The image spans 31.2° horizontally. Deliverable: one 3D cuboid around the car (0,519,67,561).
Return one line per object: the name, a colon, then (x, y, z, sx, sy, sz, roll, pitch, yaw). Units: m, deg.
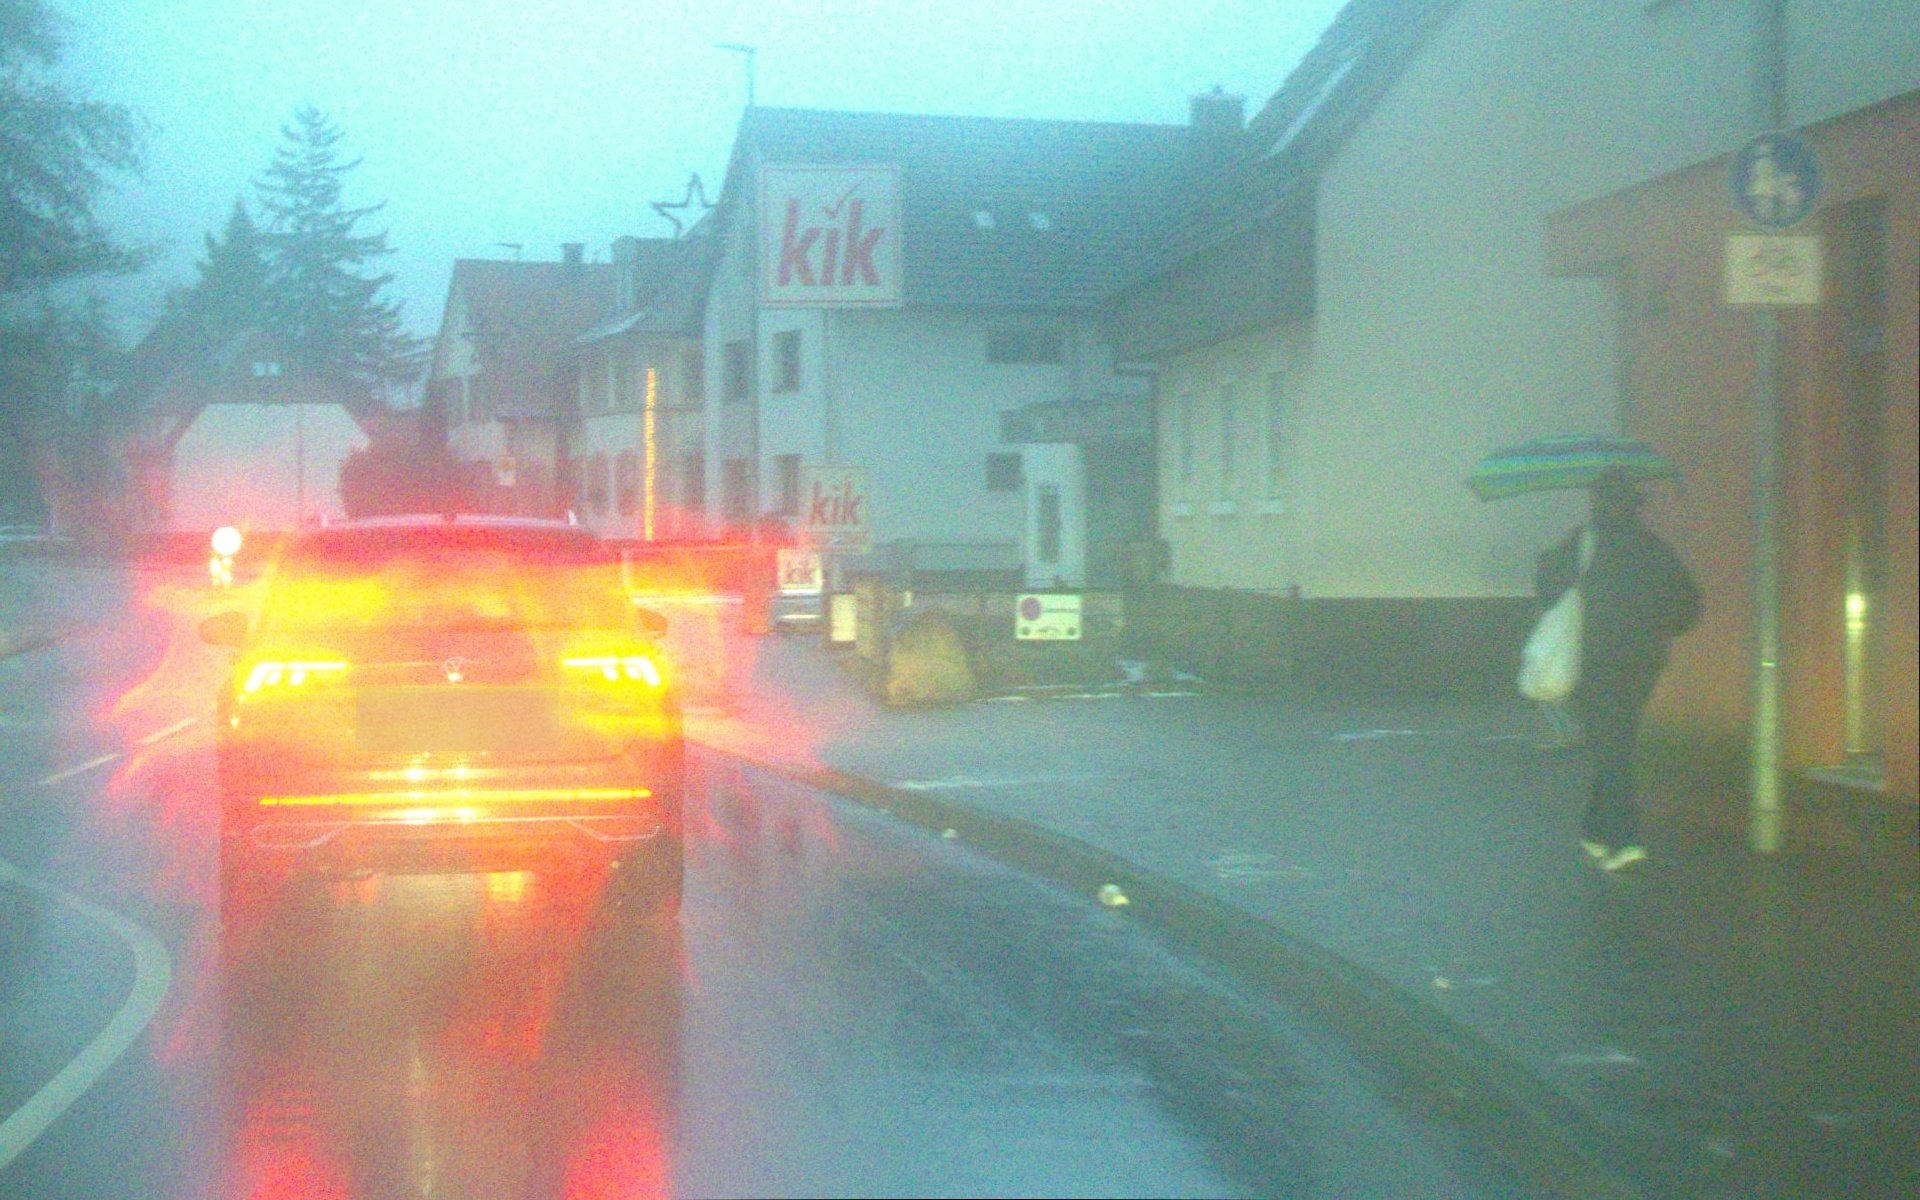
car: (-45.158, -2.888, 164.936, 4.245, 2.007, 1.811, -1, 1, -22)

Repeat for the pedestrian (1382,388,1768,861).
pedestrian: (2.549, 0.083, 14.433, 1.254, 1.859, 1.303, -2, 1, -5)

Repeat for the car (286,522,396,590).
car: (-12.641, -0.917, 70.029, 1.842, 1.327, 3.939, -1, 1, -15)

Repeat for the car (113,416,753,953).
car: (-2.429, 0.265, 15.051, 2.309, 1.932, 5.019, 0, 1, -12)
